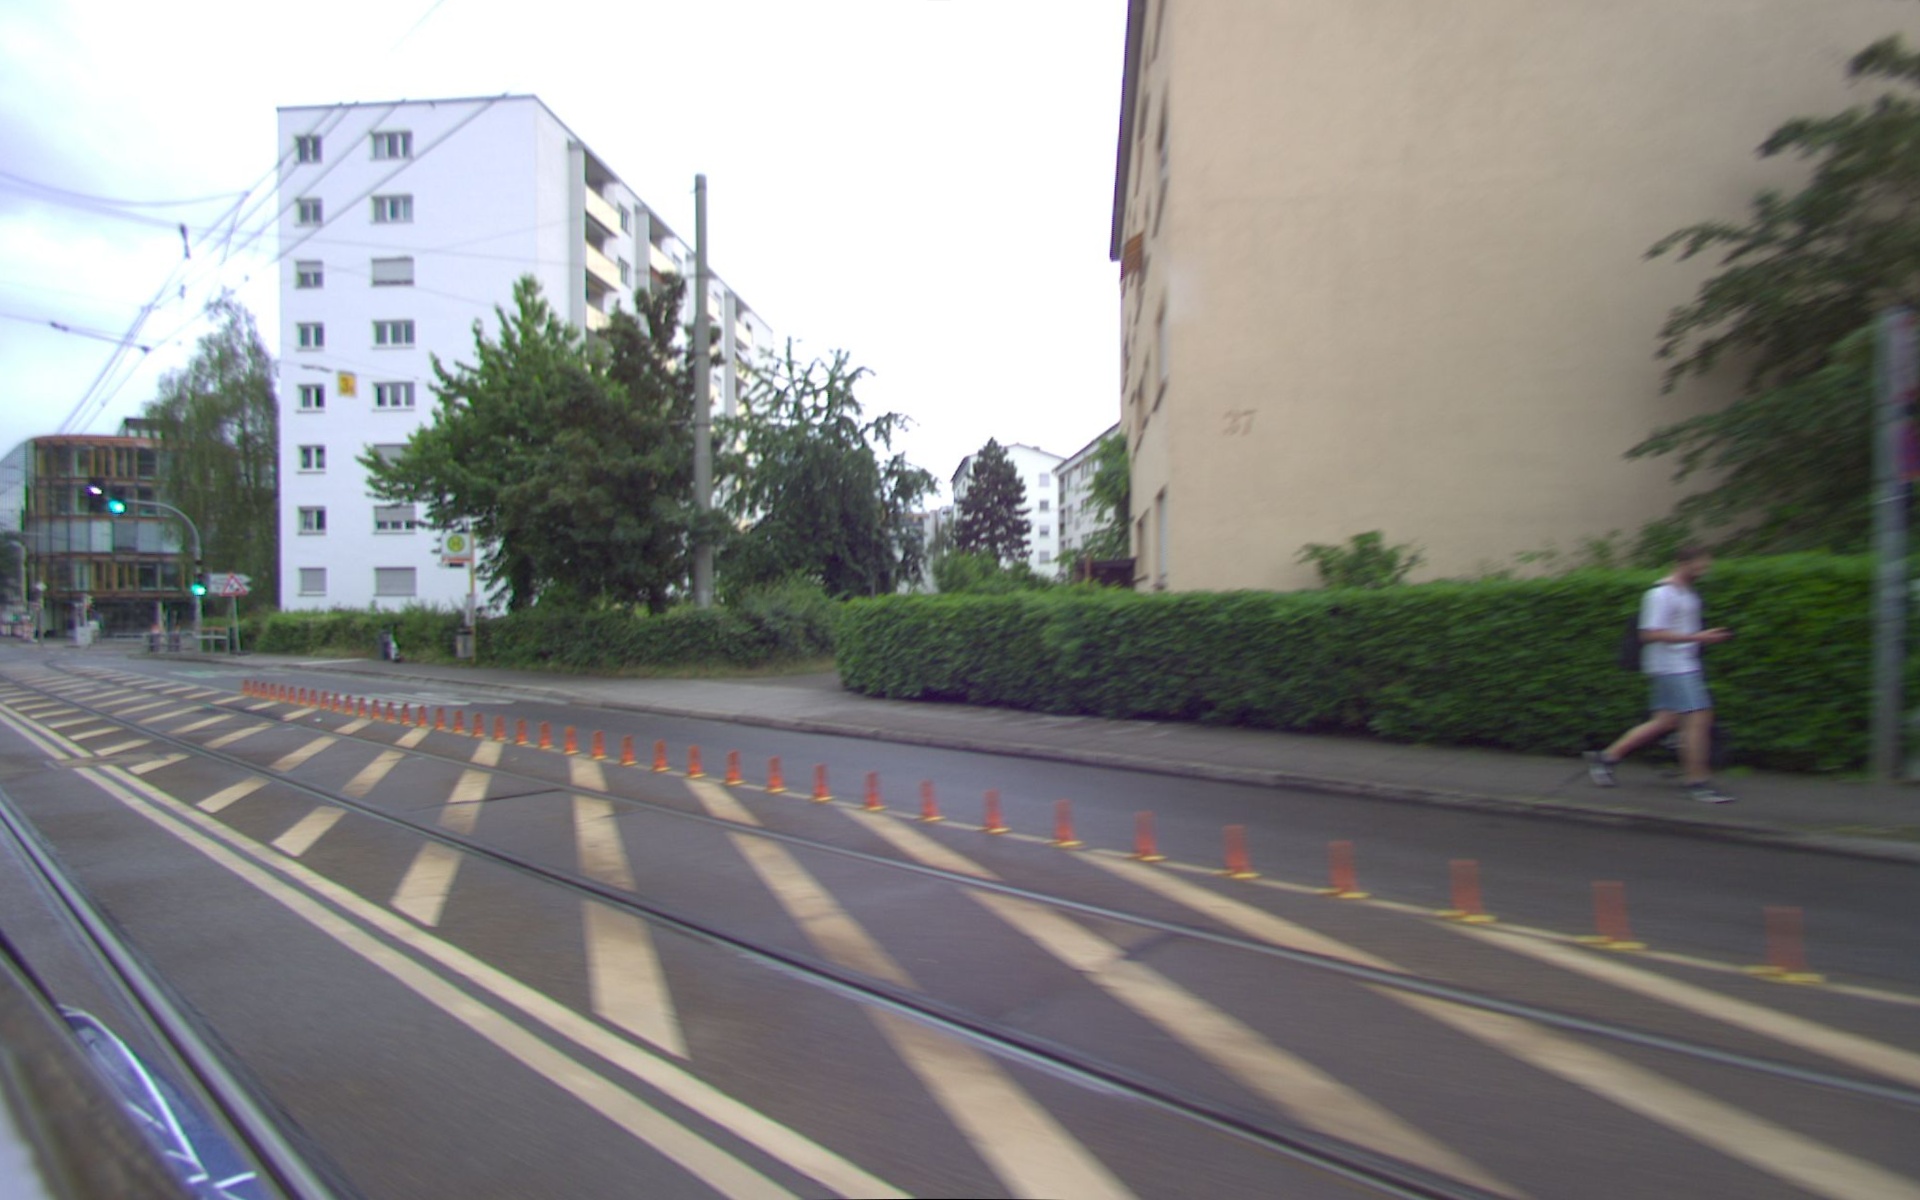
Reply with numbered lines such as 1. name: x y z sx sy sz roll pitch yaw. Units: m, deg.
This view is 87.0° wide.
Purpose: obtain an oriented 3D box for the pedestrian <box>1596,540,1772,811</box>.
1. pedestrian: 5.402 0.499 7.591 1.015 1.859 0.910 0 2 36

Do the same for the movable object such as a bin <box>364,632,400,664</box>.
1. movable object such as a bin: -17.484 1.451 30.604 0.759 0.888 0.680 0 1 37

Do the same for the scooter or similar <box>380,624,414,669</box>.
1. scooter or similar: -16.169 1.311 29.051 0.565 1.193 1.603 -1 1 -39
